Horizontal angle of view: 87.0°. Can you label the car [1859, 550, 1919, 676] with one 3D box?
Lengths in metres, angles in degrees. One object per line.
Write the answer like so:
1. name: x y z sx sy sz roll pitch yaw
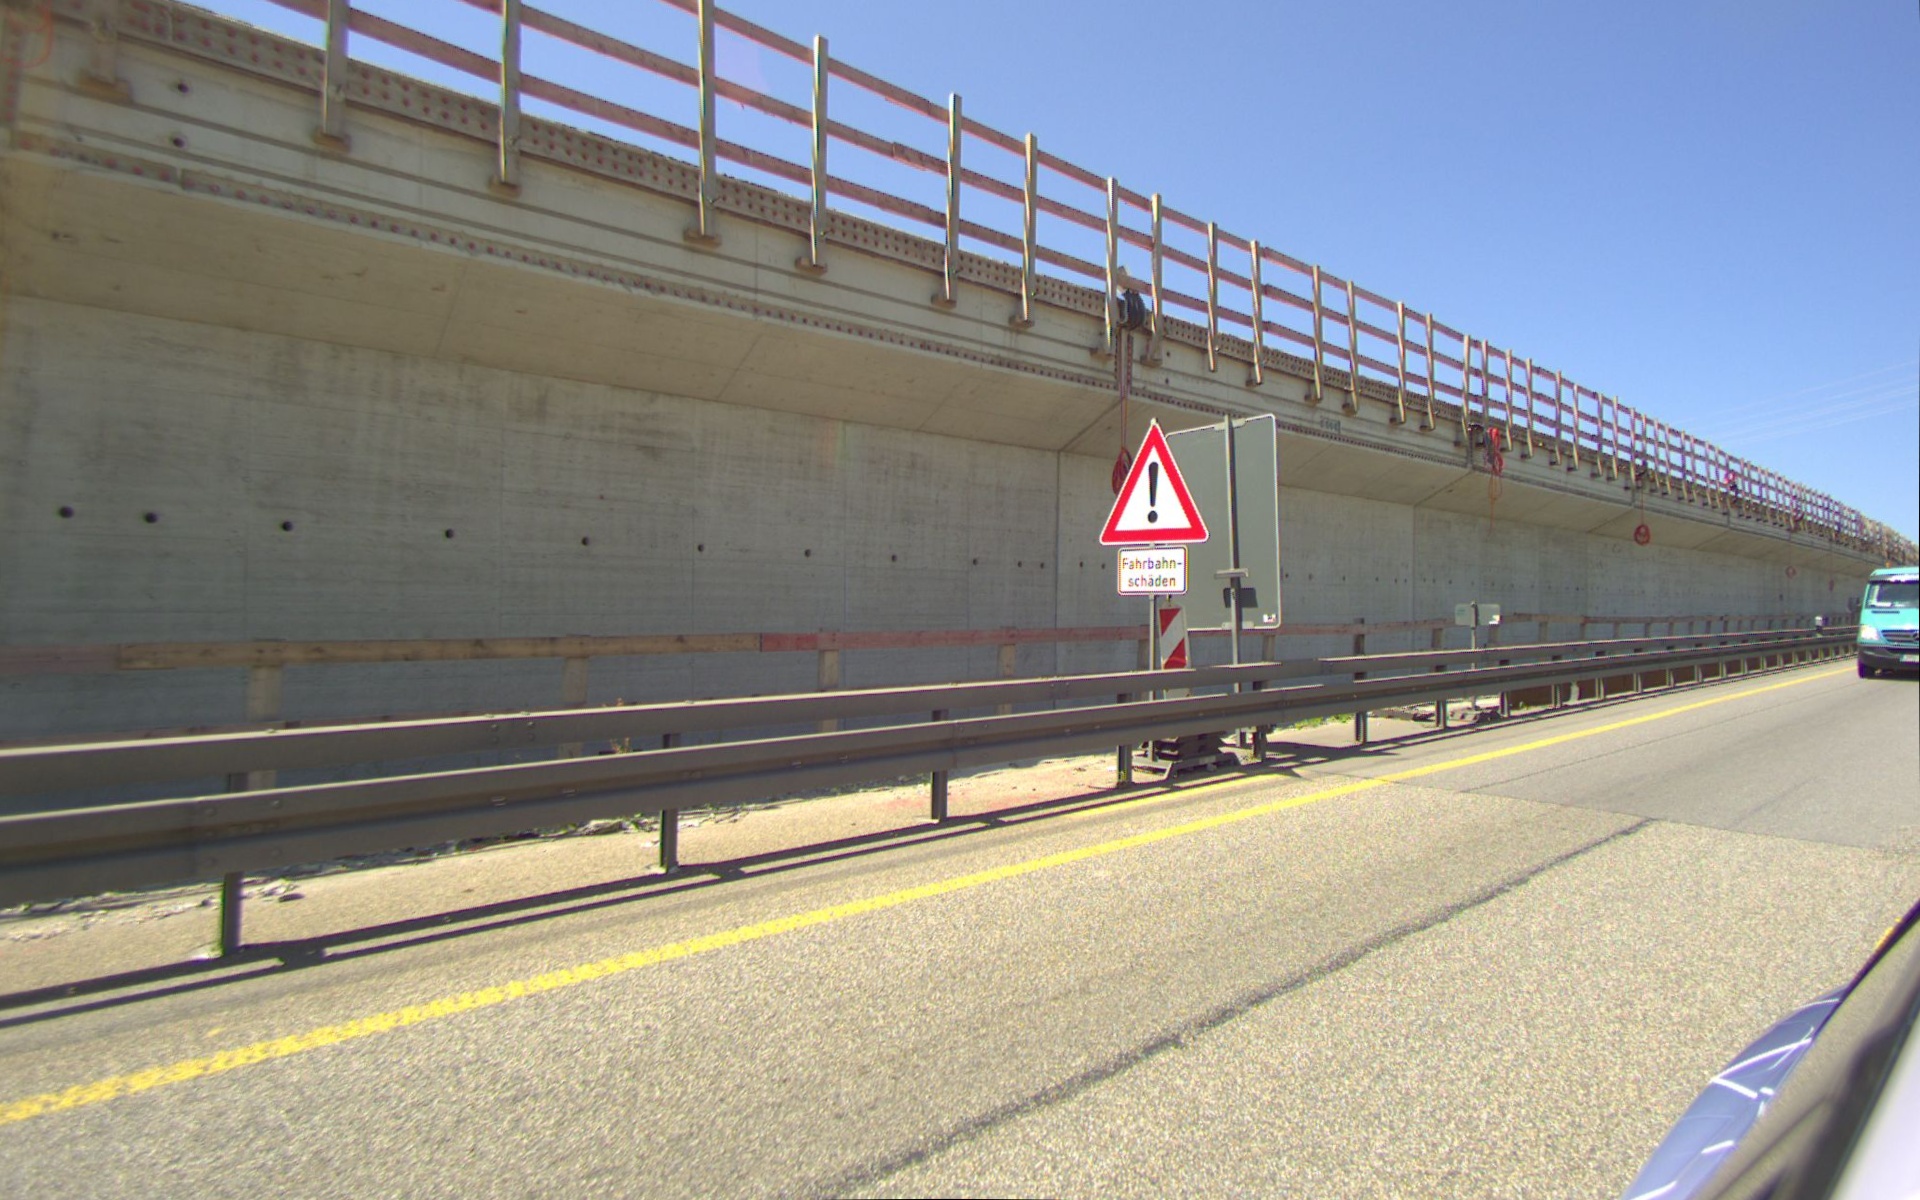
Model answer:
1. car: 21.258 0.223 21.712 7.084 2.411 1.966 0 -1 -41
